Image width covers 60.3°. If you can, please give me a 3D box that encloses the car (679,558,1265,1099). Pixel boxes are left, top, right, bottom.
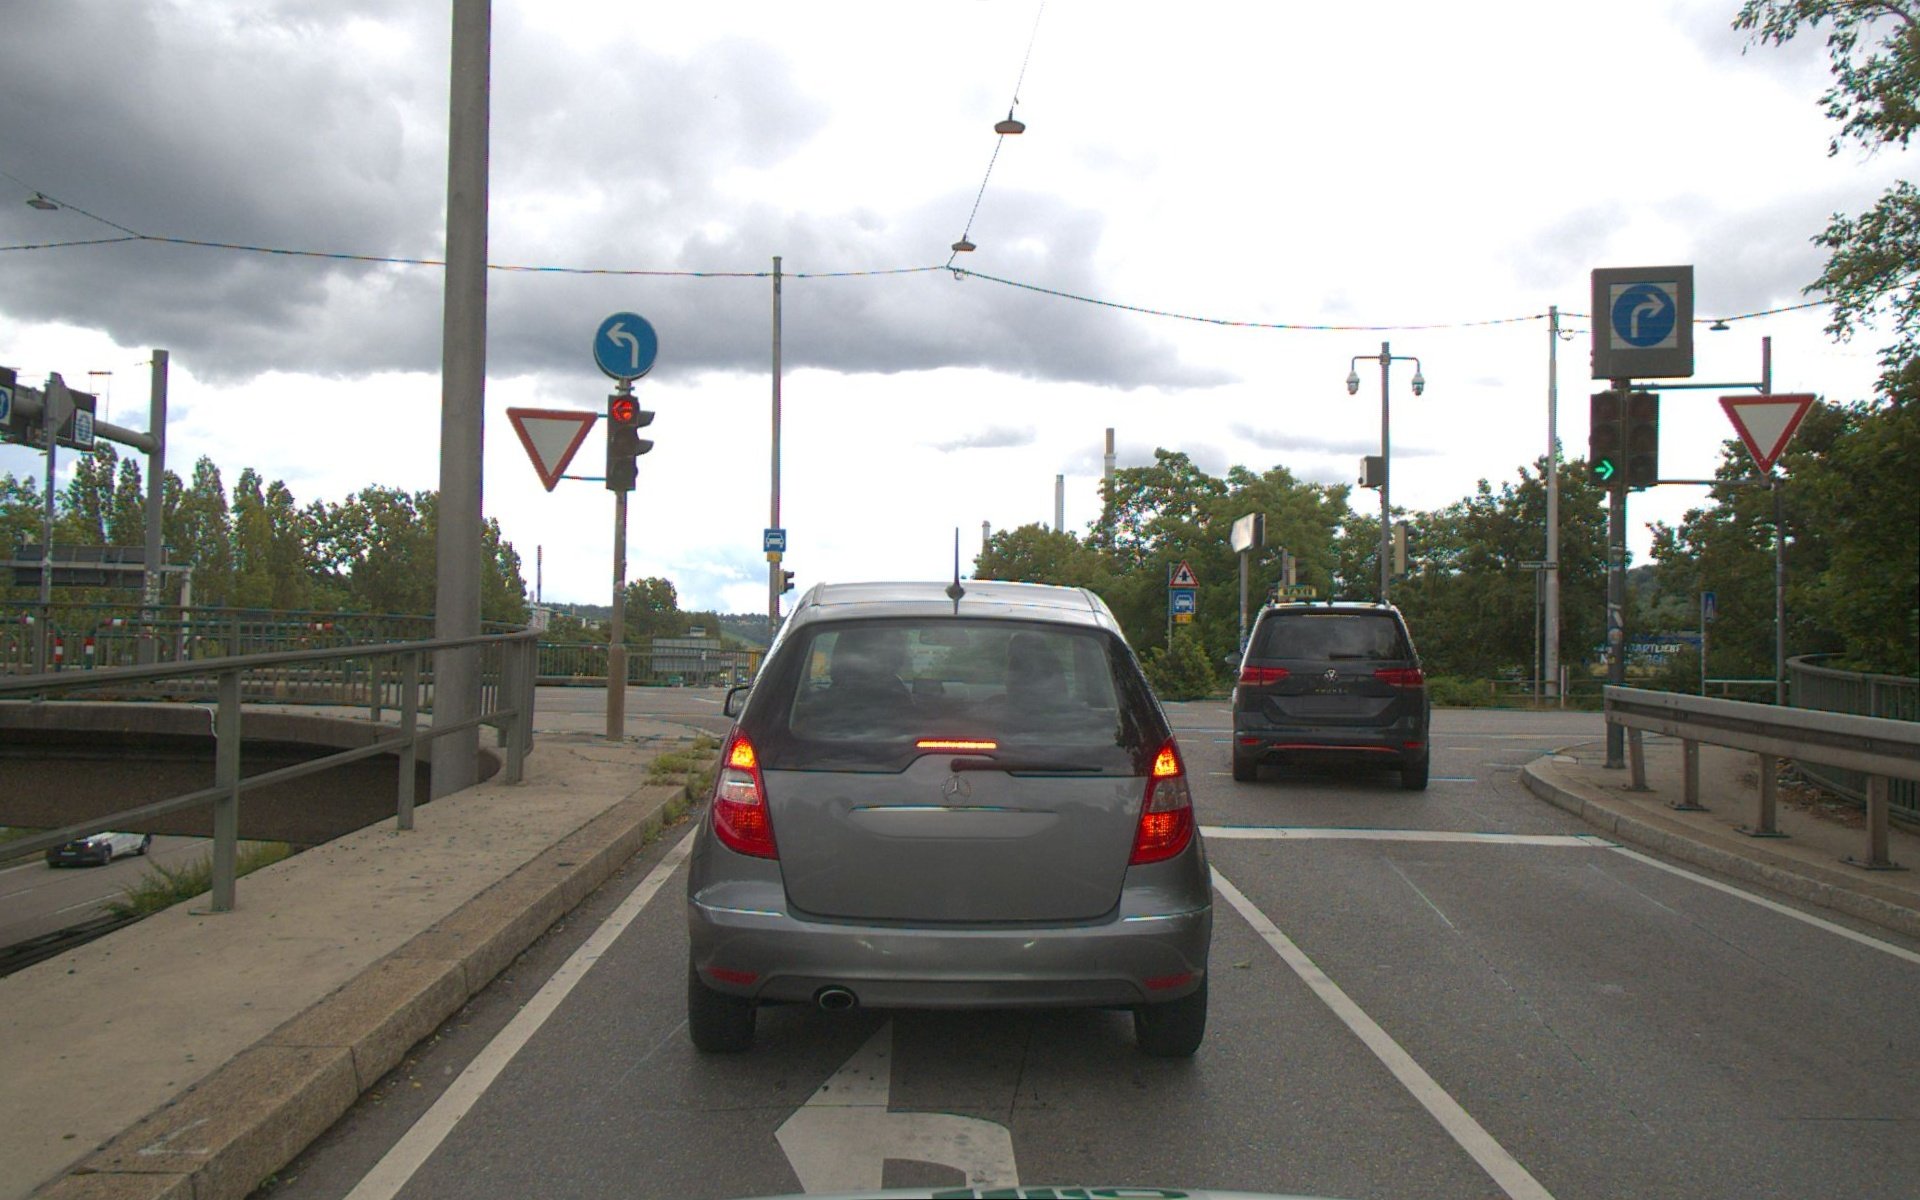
[{"bbox_3d":[0.020,0.682,6.645,1.704,1.570,3.540,1,0,-1],"label":"car"}]

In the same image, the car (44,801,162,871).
[{"bbox_3d":[-30.373,8.328,58.814,1.909,1.941,4.905,-1,-2,-4],"label":"car"}]

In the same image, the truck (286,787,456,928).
[{"bbox_3d":[-16.205,7.020,46.062,2.187,3.062,7.229,0,-2,-1],"label":"truck"}]

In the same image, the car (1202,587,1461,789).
[{"bbox_3d":[3.447,0.753,16.076,1.758,1.682,4.152,1,0,3],"label":"car"}]
